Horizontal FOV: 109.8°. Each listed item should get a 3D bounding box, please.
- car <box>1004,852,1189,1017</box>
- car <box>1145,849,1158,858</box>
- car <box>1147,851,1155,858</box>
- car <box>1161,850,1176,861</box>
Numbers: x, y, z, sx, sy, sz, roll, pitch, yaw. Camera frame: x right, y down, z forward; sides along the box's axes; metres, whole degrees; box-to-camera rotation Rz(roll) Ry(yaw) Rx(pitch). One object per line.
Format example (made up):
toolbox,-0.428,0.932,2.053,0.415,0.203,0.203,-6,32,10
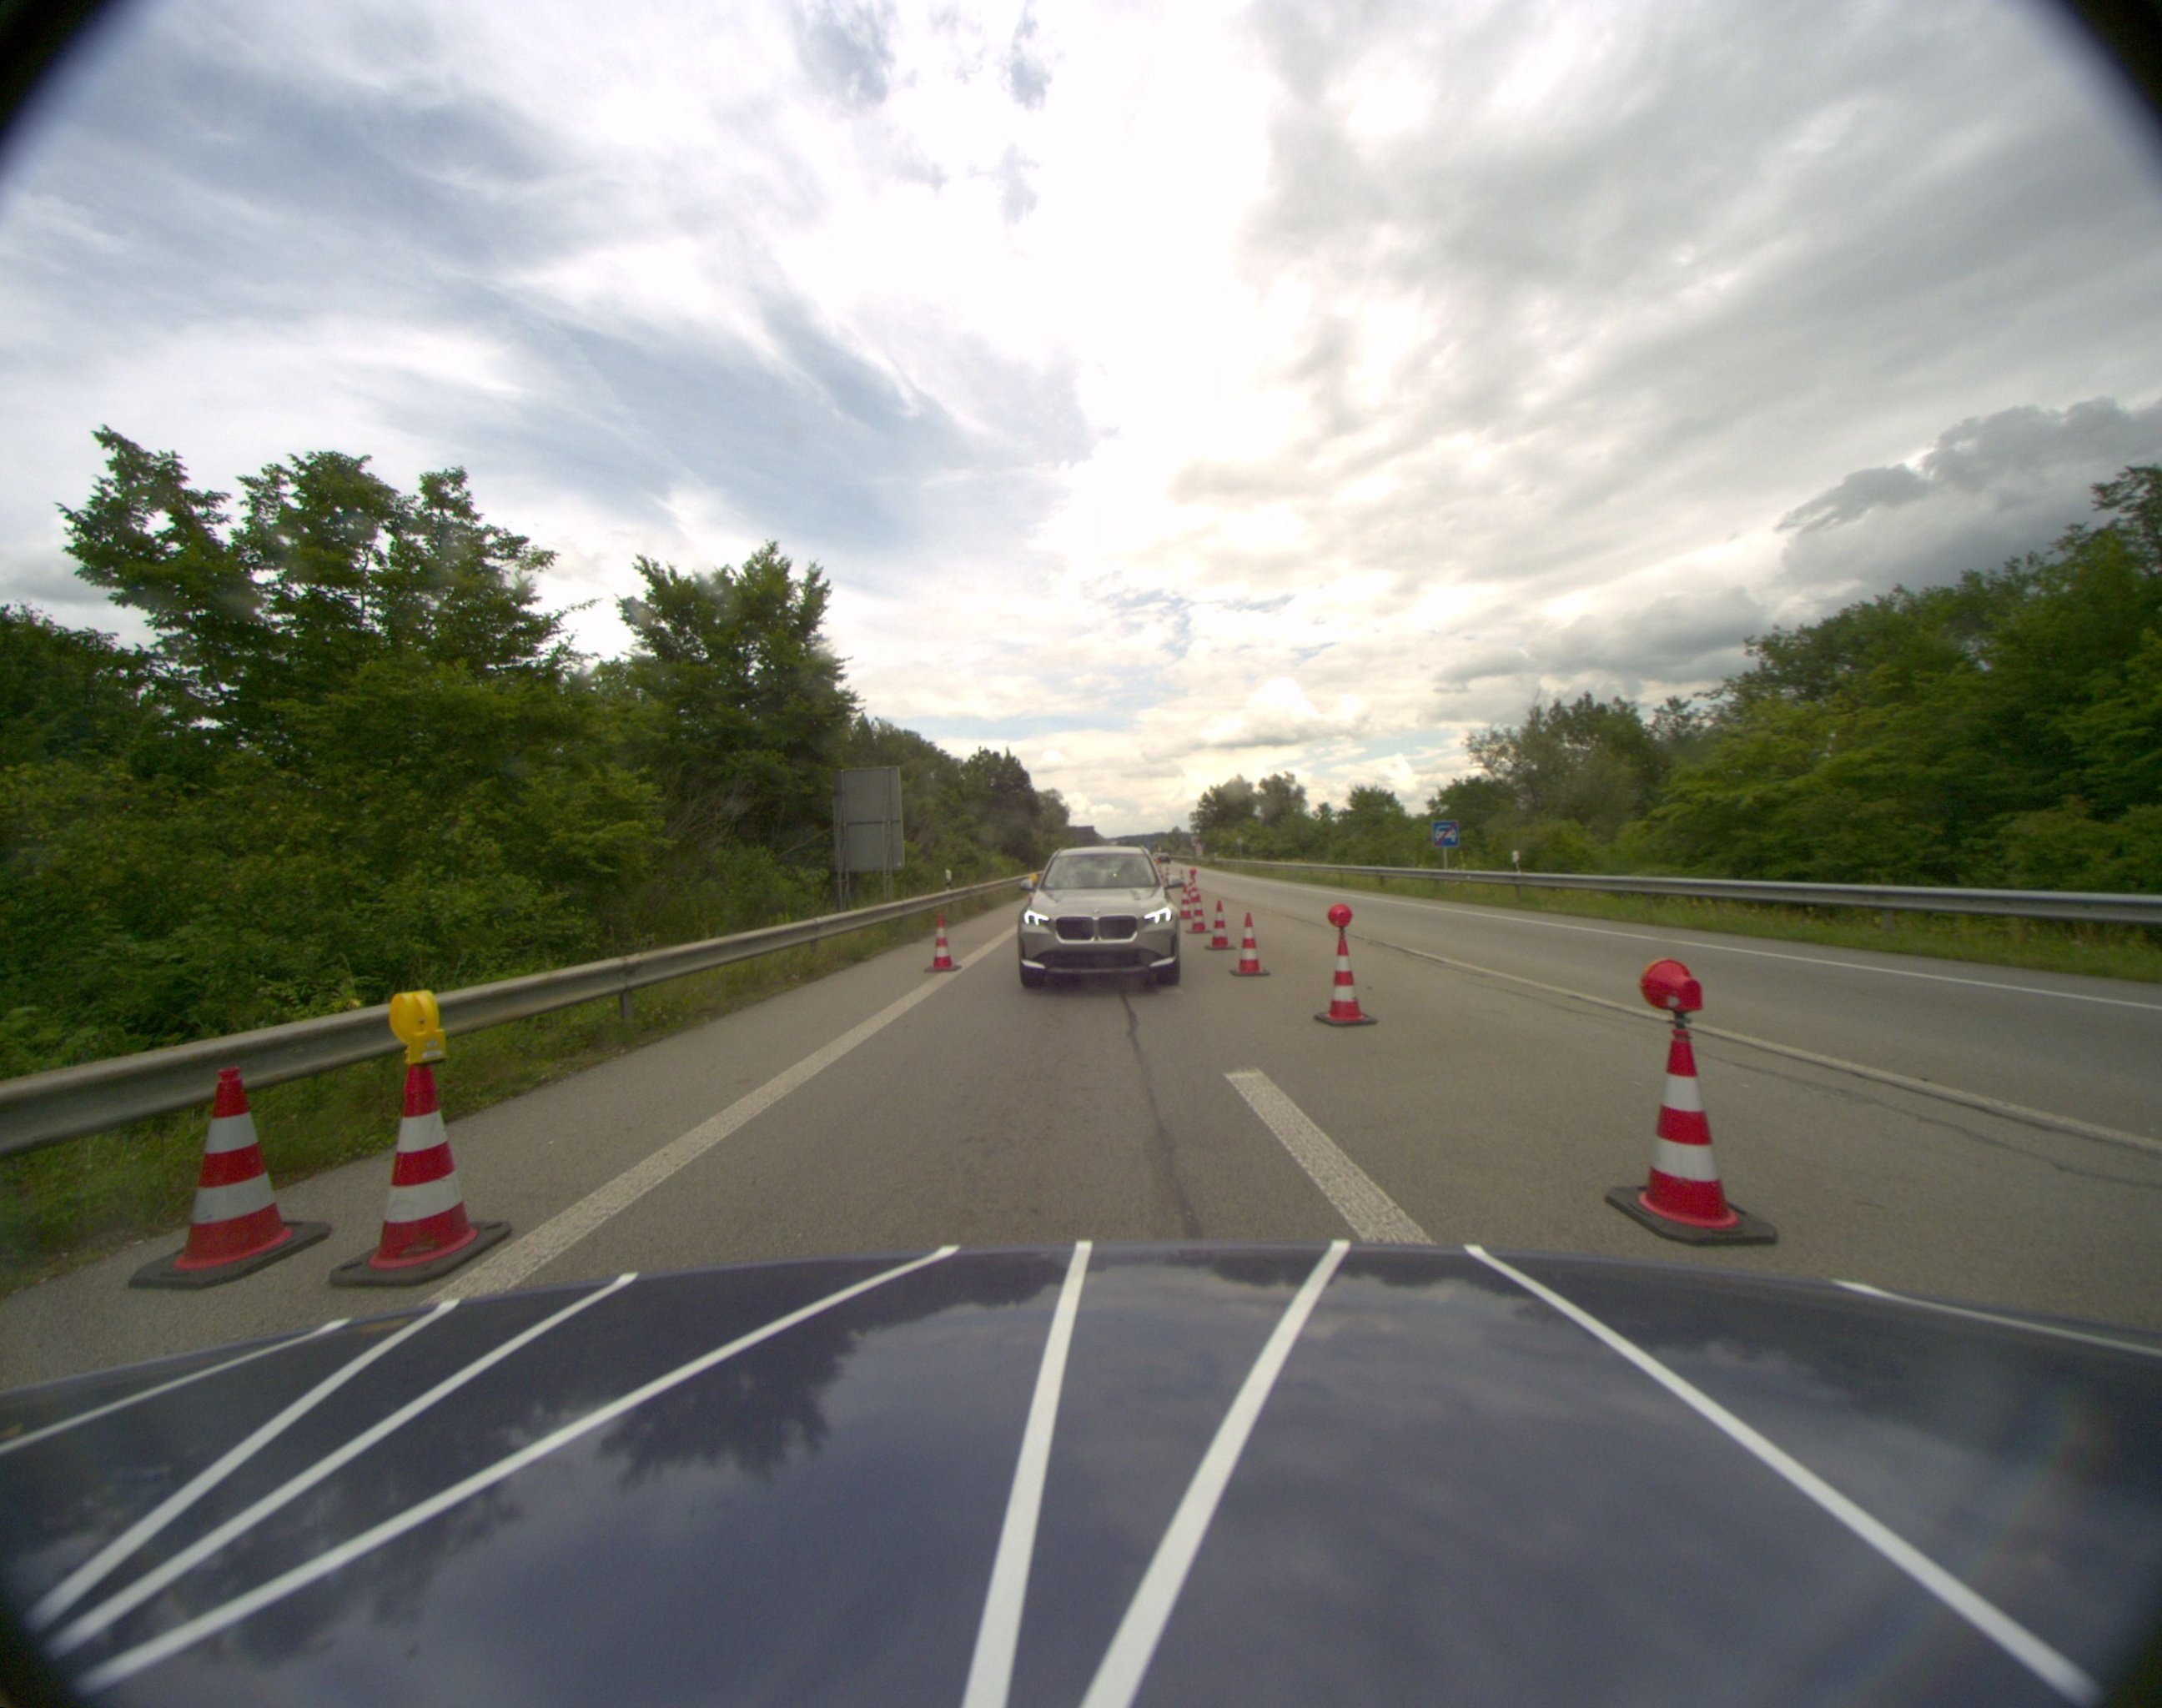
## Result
car,0.299,0.813,9.878,1.817,1.598,4.434,-2,0,4
car,11.853,-0.146,127.998,1.683,1.393,4.374,-2,0,-1
car,19.842,0.187,214.450,2.033,1.976,5.316,-2,0,3
car,11.561,0.147,100.625,1.712,1.428,4.337,-2,0,4
